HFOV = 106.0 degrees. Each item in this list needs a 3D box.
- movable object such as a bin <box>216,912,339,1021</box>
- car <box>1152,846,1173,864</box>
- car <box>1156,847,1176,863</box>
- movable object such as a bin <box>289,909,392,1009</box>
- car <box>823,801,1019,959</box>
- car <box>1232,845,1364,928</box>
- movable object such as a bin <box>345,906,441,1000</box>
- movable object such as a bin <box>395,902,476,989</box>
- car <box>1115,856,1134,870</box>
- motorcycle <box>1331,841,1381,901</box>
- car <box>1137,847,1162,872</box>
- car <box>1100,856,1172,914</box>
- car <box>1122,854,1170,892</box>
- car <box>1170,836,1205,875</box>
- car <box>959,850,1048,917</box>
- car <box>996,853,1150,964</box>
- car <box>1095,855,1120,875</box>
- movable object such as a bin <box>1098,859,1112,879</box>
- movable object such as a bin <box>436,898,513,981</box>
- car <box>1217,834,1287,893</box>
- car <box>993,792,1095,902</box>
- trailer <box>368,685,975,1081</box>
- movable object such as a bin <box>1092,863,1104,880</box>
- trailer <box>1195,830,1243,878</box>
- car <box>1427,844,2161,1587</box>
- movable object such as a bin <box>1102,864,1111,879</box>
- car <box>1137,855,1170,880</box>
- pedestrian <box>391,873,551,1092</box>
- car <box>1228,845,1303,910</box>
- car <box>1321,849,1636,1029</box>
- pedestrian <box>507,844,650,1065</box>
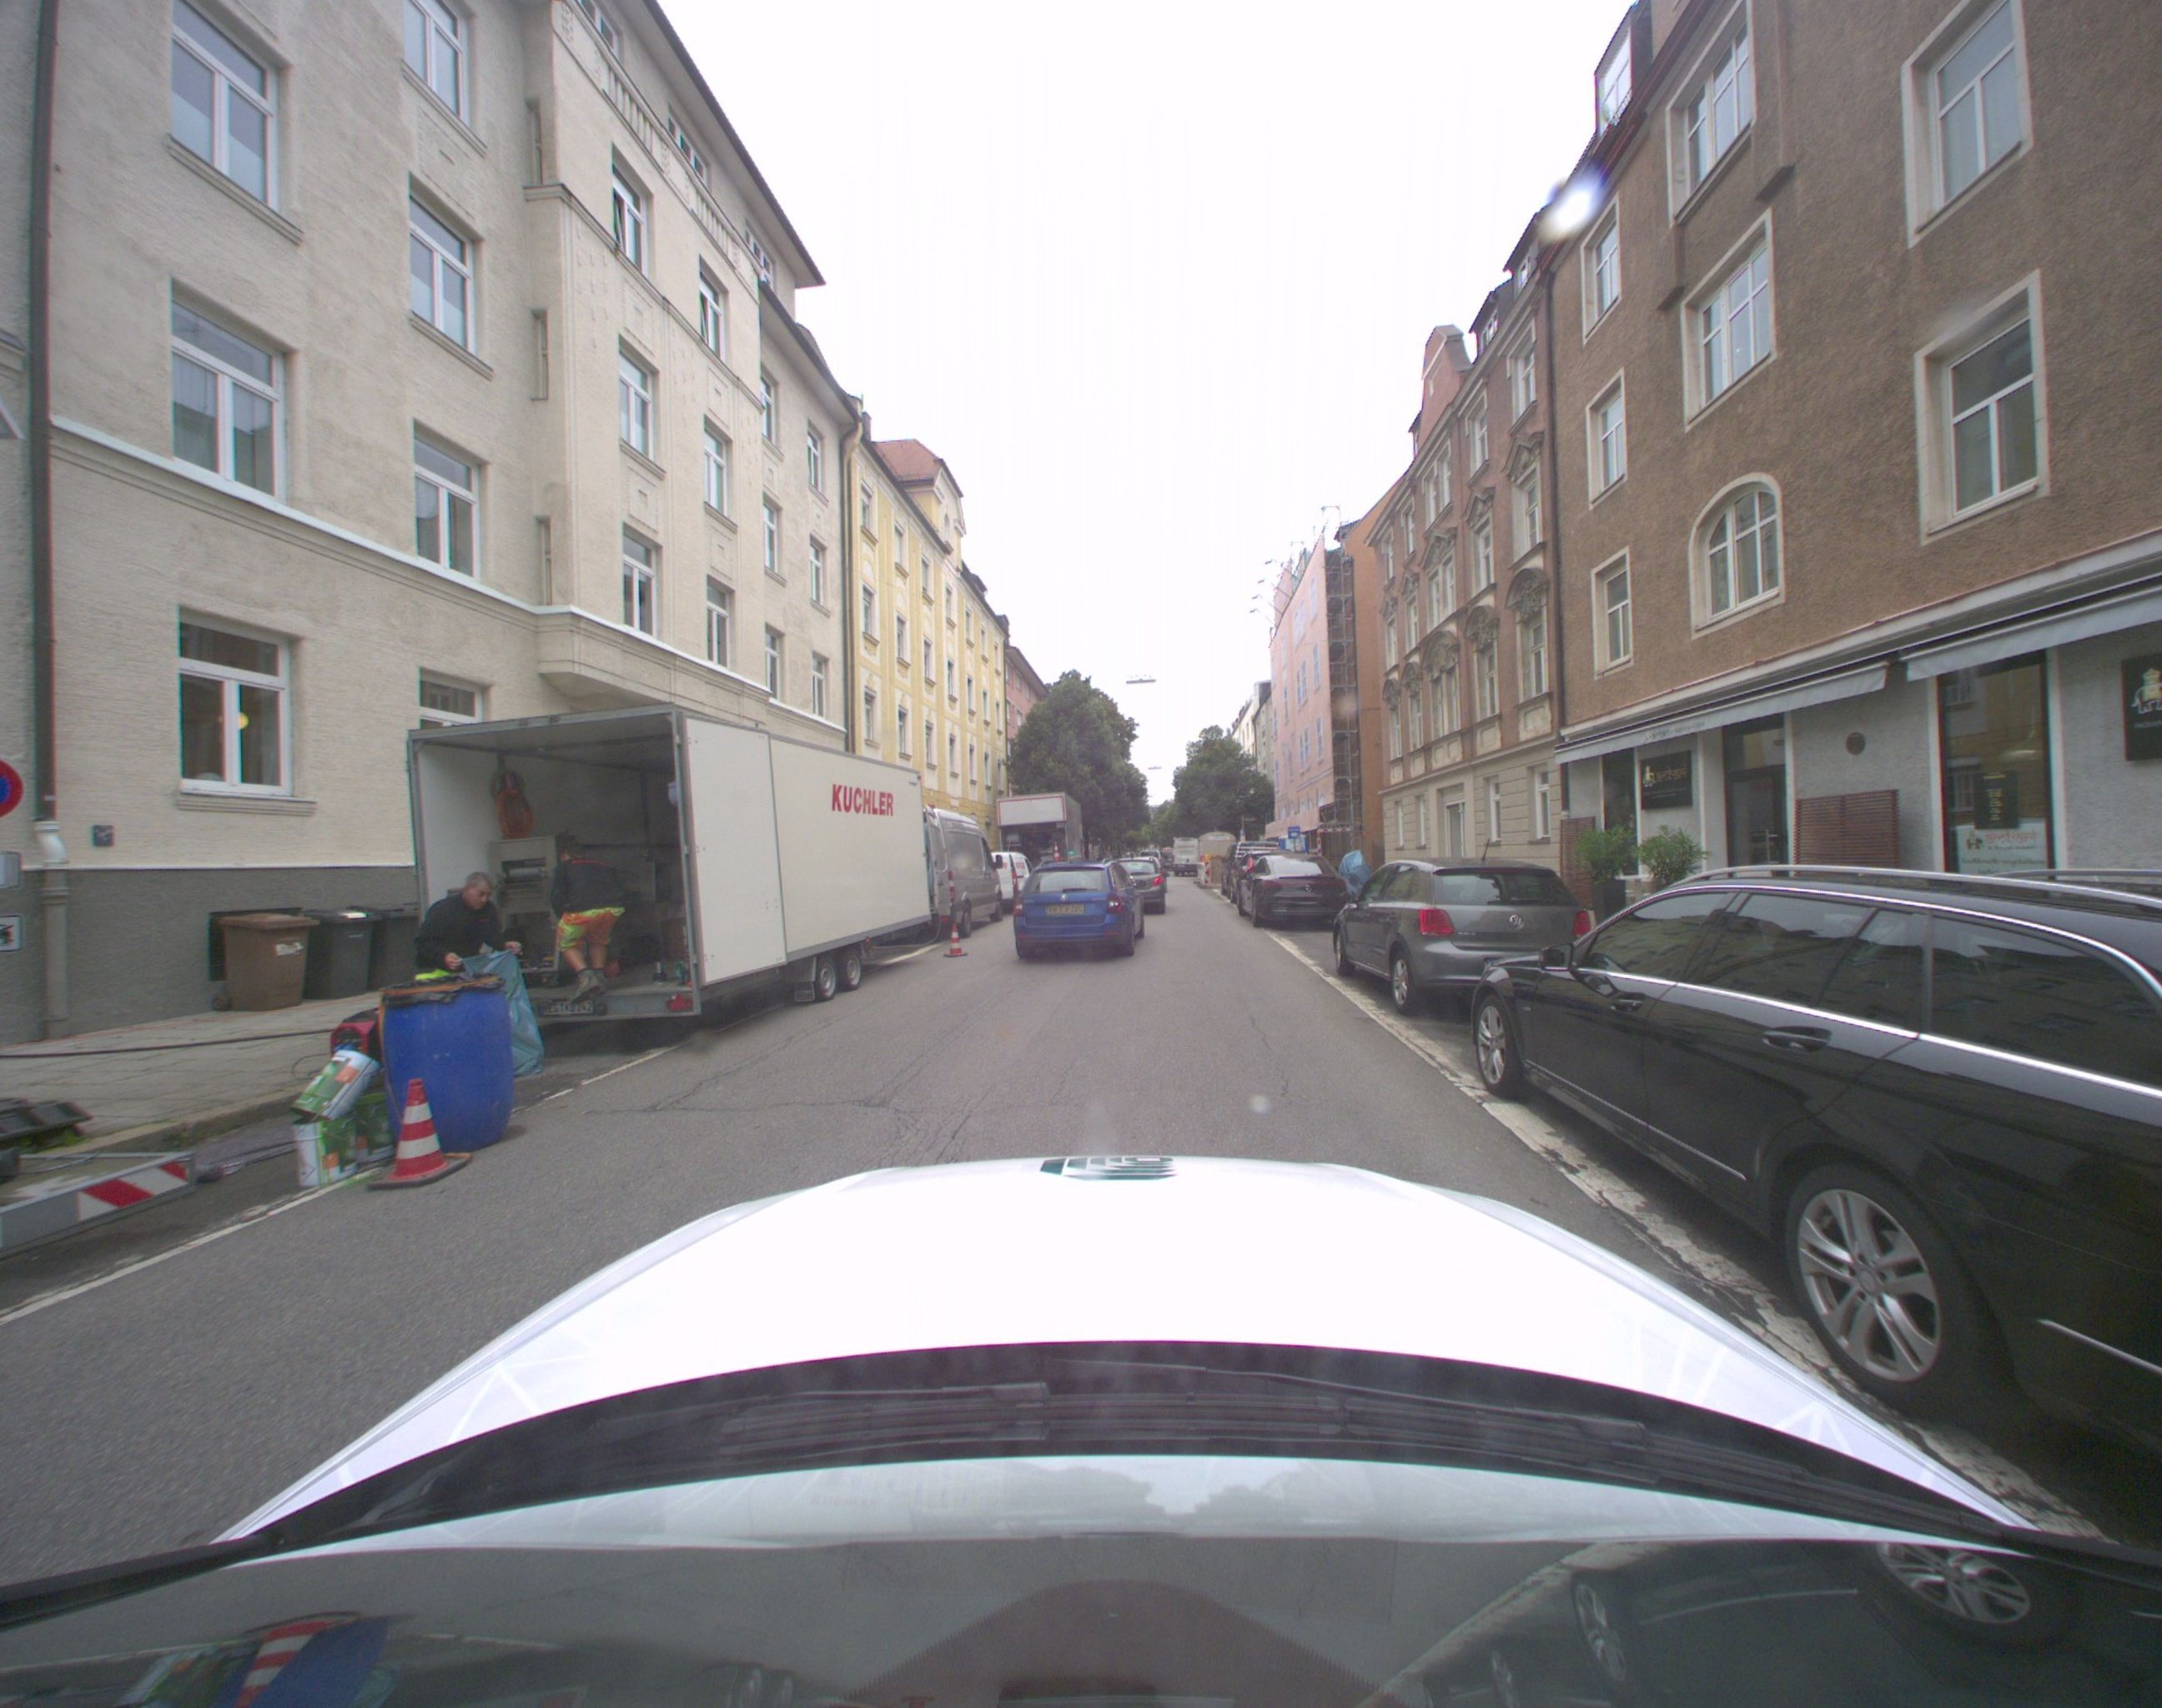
[{"bbox_3d":[-9.165,1.265,9.309,0.644,1.129,0.732,-3,-1,9],"label":"movable object such as a bin"},{"bbox_3d":[7.614,0.077,75.551,1.858,1.653,4.355,-1,0,6],"label":"car"},{"bbox_3d":[9.141,0.131,87.487,1.998,1.653,4.354,-1,0,6],"label":"car"},{"bbox_3d":[-9.073,1.271,9.992,0.644,1.129,0.640,-3,-1,9],"label":"movable object such as a bin"},{"bbox_3d":[-3.102,0.464,17.824,2.046,2.587,6.887,-6,-1,6],"label":"car"},{"bbox_3d":[4.672,0.633,18.415,1.922,1.553,5.644,-1,0,5],"label":"car"},{"bbox_3d":[-8.948,1.276,10.615,0.673,1.129,0.640,-3,-1,8],"label":"movable object such as a bin"},{"bbox_3d":[-8.868,1.245,11.201,0.644,1.129,0.556,-3,-1,8],"label":"movable object such as a bin"},{"bbox_3d":[4.798,0.960,88.853,1.803,1.478,4.007,-1,0,6],"label":"car"},{"bbox_3d":[7.385,0.443,21.985,0.867,1.505,2.001,-2,0,8],"label":"motorcycle"},{"bbox_3d":[5.349,0.403,63.370,1.858,1.870,4.355,-1,0,6],"label":"car"},{"bbox_3d":[1.572,0.784,22.187,1.732,1.422,3.671,-2,-1,7],"label":"car"},{"bbox_3d":[2.749,0.739,34.056,1.858,1.454,4.353,-1,0,5],"label":"car"},{"bbox_3d":[7.788,0.118,59.033,2.099,2.664,5.517,-1,-1,12],"label":"car"},{"bbox_3d":[-2.292,0.849,25.212,1.753,1.779,4.335,-4,-1,7],"label":"car"},{"bbox_3d":[0.057,0.759,13.256,1.779,1.460,4.324,-2,-1,8],"label":"car"},{"bbox_3d":[2.169,0.876,66.188,1.804,1.478,4.004,-1,0,4],"label":"car"},{"bbox_3d":[1.706,1.055,58.365,0.914,1.376,1.080,-4,0,2],"label":"movable object such as a bin"},{"bbox_3d":[-8.751,1.221,11.765,0.668,1.129,0.556,-3,-1,8],"label":"movable object such as a bin"},{"bbox_3d":[6.126,0.430,29.754,2.071,1.921,5.149,-1,-3,7],"label":"car"},{"bbox_3d":[-1.265,-0.232,33.520,2.799,3.817,8.736,-2,-1,6],"label":"car"},{"bbox_3d":[-3.870,0.223,10.352,2.788,2.968,7.617,-5,0,8],"label":"trailer"},{"bbox_3d":[1.209,1.217,57.488,0.708,1.148,0.637,-4,0,2],"label":"movable object such as a bin"},{"bbox_3d":[8.679,0.025,51.820,2.490,2.840,6.912,-1,-1,6],"label":"trailer"},{"bbox_3d":[3.200,0.692,3.463,1.837,1.405,4.796,-2,0,6],"label":"car"},{"bbox_3d":[1.829,1.216,57.495,0.544,1.020,0.637,-4,0,2],"label":"movable object such as a bin"},{"bbox_3d":[4.444,0.788,49.484,1.858,1.348,4.355,-1,0,6],"label":"car"},{"bbox_3d":[-4.764,0.958,6.406,0.762,1.580,0.634,-2,-1,-12],"label":"pedestrian"},{"bbox_3d":[5.248,0.640,23.616,1.684,1.676,4.416,1,0,7],"label":"car"},{"bbox_3d":[3.807,0.708,8.654,1.565,1.394,4.188,-2,-1,5],"label":"car"},{"bbox_3d":[-3.995,0.763,6.535,0.762,1.631,0.634,-2,-1,-14],"label":"pedestrian"}]
